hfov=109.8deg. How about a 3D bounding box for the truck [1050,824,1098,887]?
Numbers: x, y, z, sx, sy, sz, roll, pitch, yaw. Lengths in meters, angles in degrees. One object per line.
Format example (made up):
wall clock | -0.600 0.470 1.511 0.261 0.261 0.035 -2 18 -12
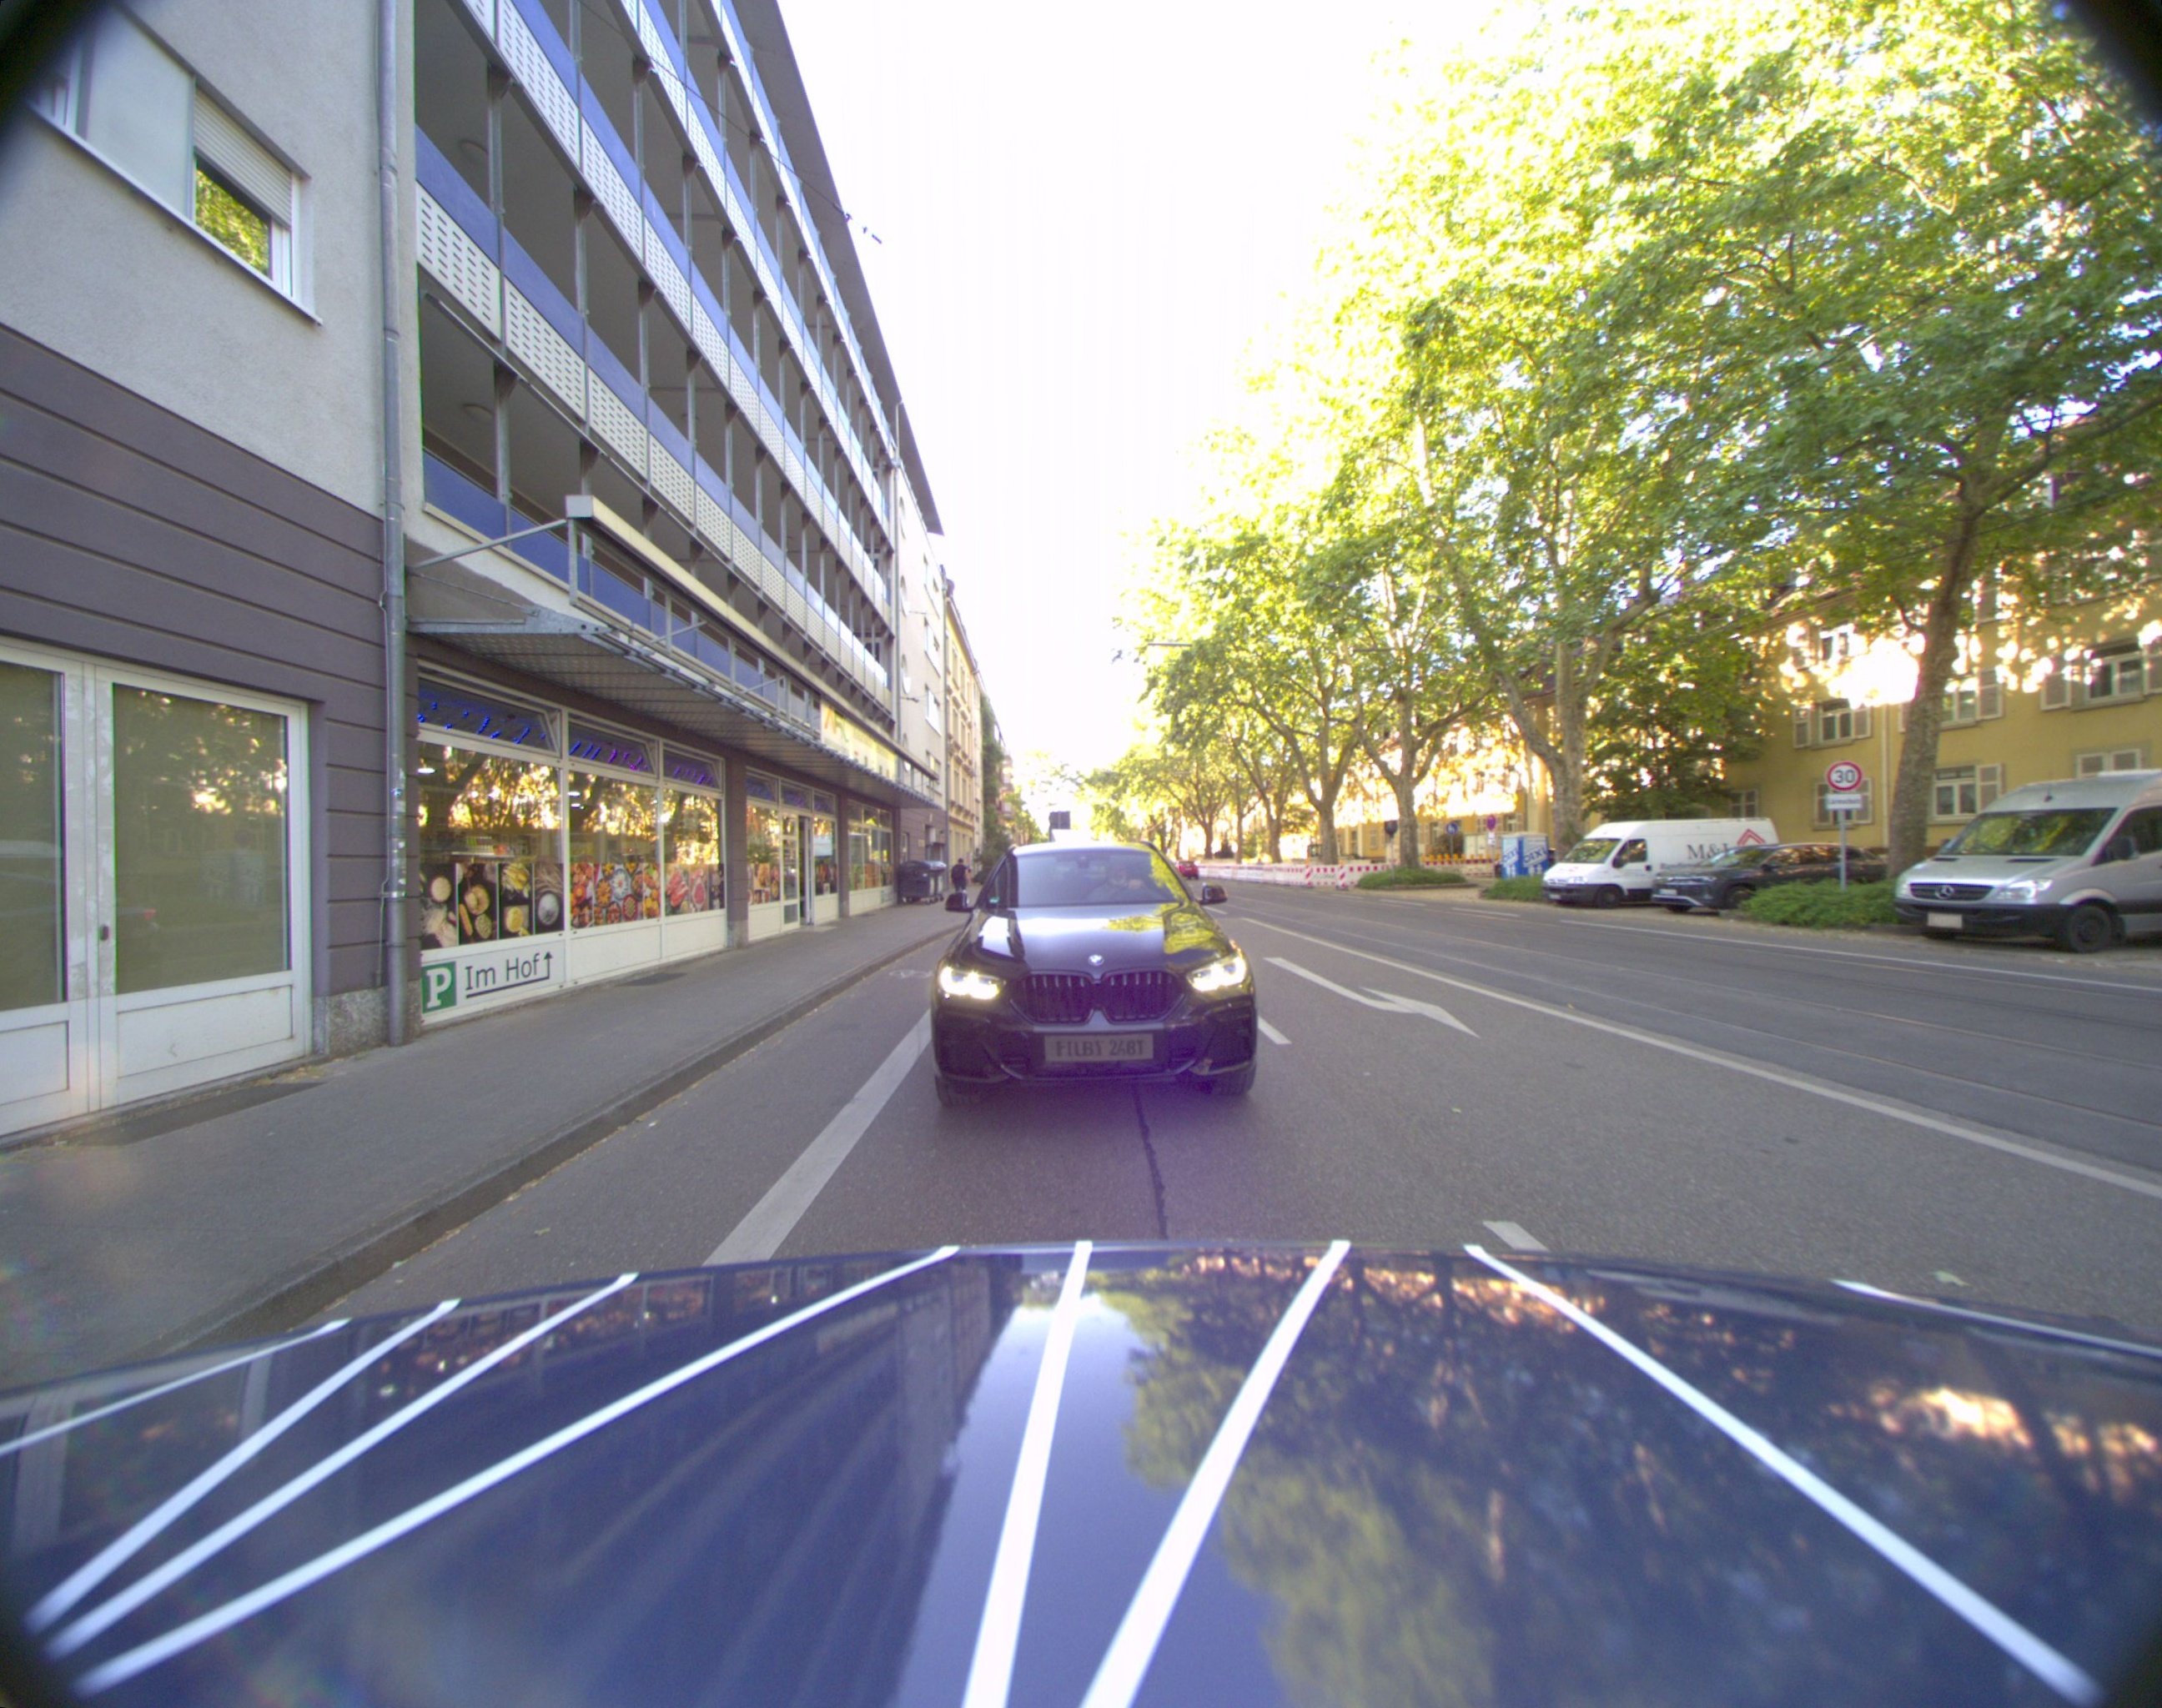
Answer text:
truck | -0.315 0.125 42.233 2.394 3.170 6.587 -1 0 1

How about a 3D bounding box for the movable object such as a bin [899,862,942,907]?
movable object such as a bin | -5.196 0.985 24.643 1.158 1.418 0.939 -1 0 1

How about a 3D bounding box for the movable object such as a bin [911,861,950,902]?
movable object such as a bin | -5.283 0.956 26.681 1.158 1.418 0.939 -1 0 1

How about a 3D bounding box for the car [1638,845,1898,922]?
car | 16.078 0.659 17.937 4.627 1.642 1.774 -1 0 -2

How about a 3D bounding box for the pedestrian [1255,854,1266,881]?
pedestrian | 11.722 0.888 49.703 0.651 1.735 0.583 -2 1 11

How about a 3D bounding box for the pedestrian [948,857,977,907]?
pedestrian | -3.809 0.891 24.430 0.864 1.582 0.622 -1 0 -5

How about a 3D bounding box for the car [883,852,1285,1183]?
car | 0.042 0.833 5.972 1.998 1.643 4.295 -1 0 1

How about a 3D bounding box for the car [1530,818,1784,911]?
car | 15.845 0.292 21.144 5.404 2.362 2.223 -1 0 0

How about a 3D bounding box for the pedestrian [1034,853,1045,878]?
pedestrian | -3.149 0.845 58.018 0.733 1.875 0.664 -2 1 -1

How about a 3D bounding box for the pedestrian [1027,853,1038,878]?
pedestrian | -3.745 0.872 58.943 0.733 1.875 0.664 -2 1 -1

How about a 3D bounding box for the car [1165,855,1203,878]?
car | 7.701 0.915 57.090 2.022 1.556 4.490 -1 0 -3

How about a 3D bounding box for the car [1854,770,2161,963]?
car | 15.985 0.130 11.855 5.666 2.666 2.223 -2 0 -2

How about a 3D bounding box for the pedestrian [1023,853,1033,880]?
pedestrian | -3.715 0.868 53.242 0.600 1.875 0.581 -2 1 -1
